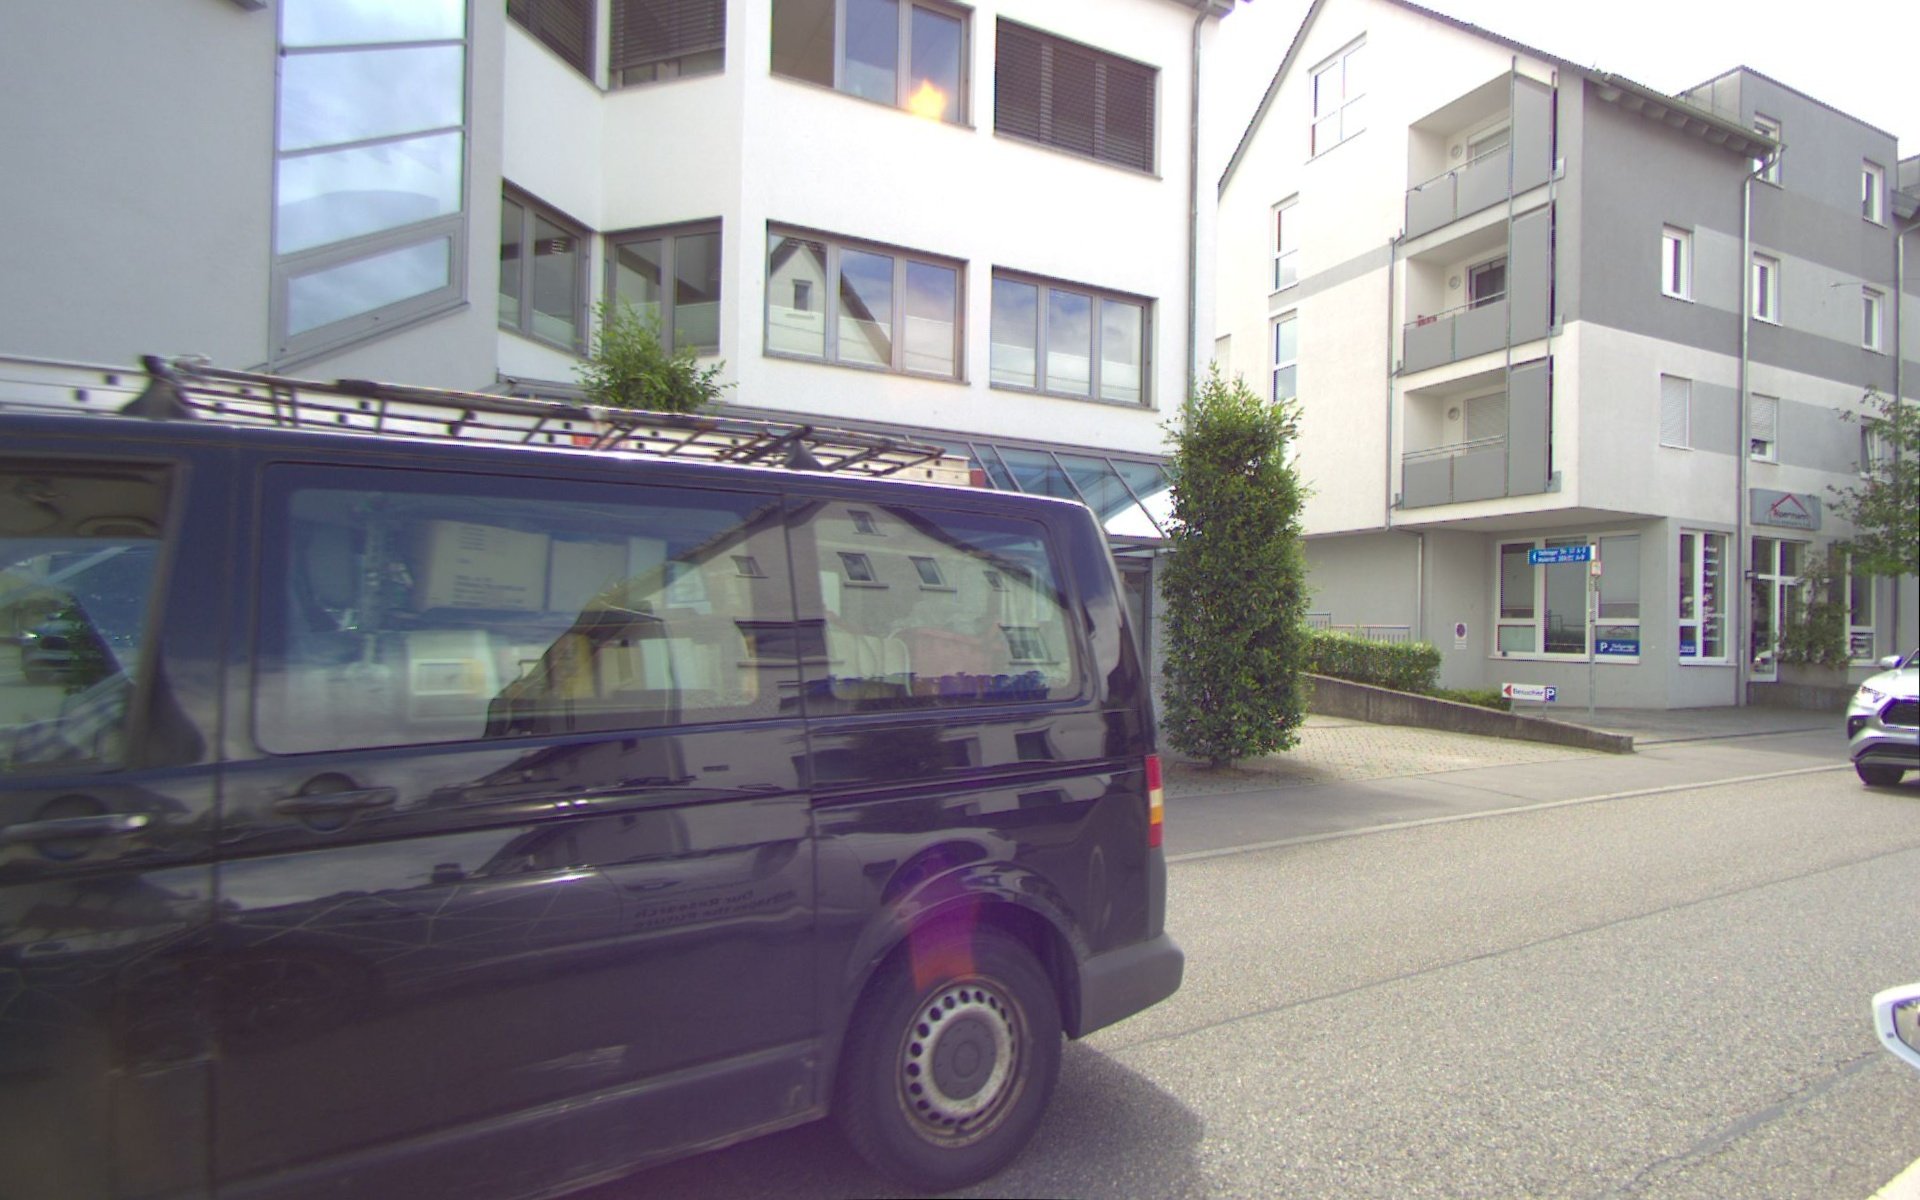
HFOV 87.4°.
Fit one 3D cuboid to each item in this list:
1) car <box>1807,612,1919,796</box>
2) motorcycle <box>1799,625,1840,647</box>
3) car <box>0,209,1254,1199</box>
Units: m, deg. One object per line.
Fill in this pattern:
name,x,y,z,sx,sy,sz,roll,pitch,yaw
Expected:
car,11.287,1.044,10.674,4.739,1.760,1.978,2,-4,-30
motorcycle,42.306,1.781,49.427,2.321,1.018,1.191,2,-1,-41
car,-1.671,0.503,2.751,4.829,2.180,2.100,1,-2,-32
